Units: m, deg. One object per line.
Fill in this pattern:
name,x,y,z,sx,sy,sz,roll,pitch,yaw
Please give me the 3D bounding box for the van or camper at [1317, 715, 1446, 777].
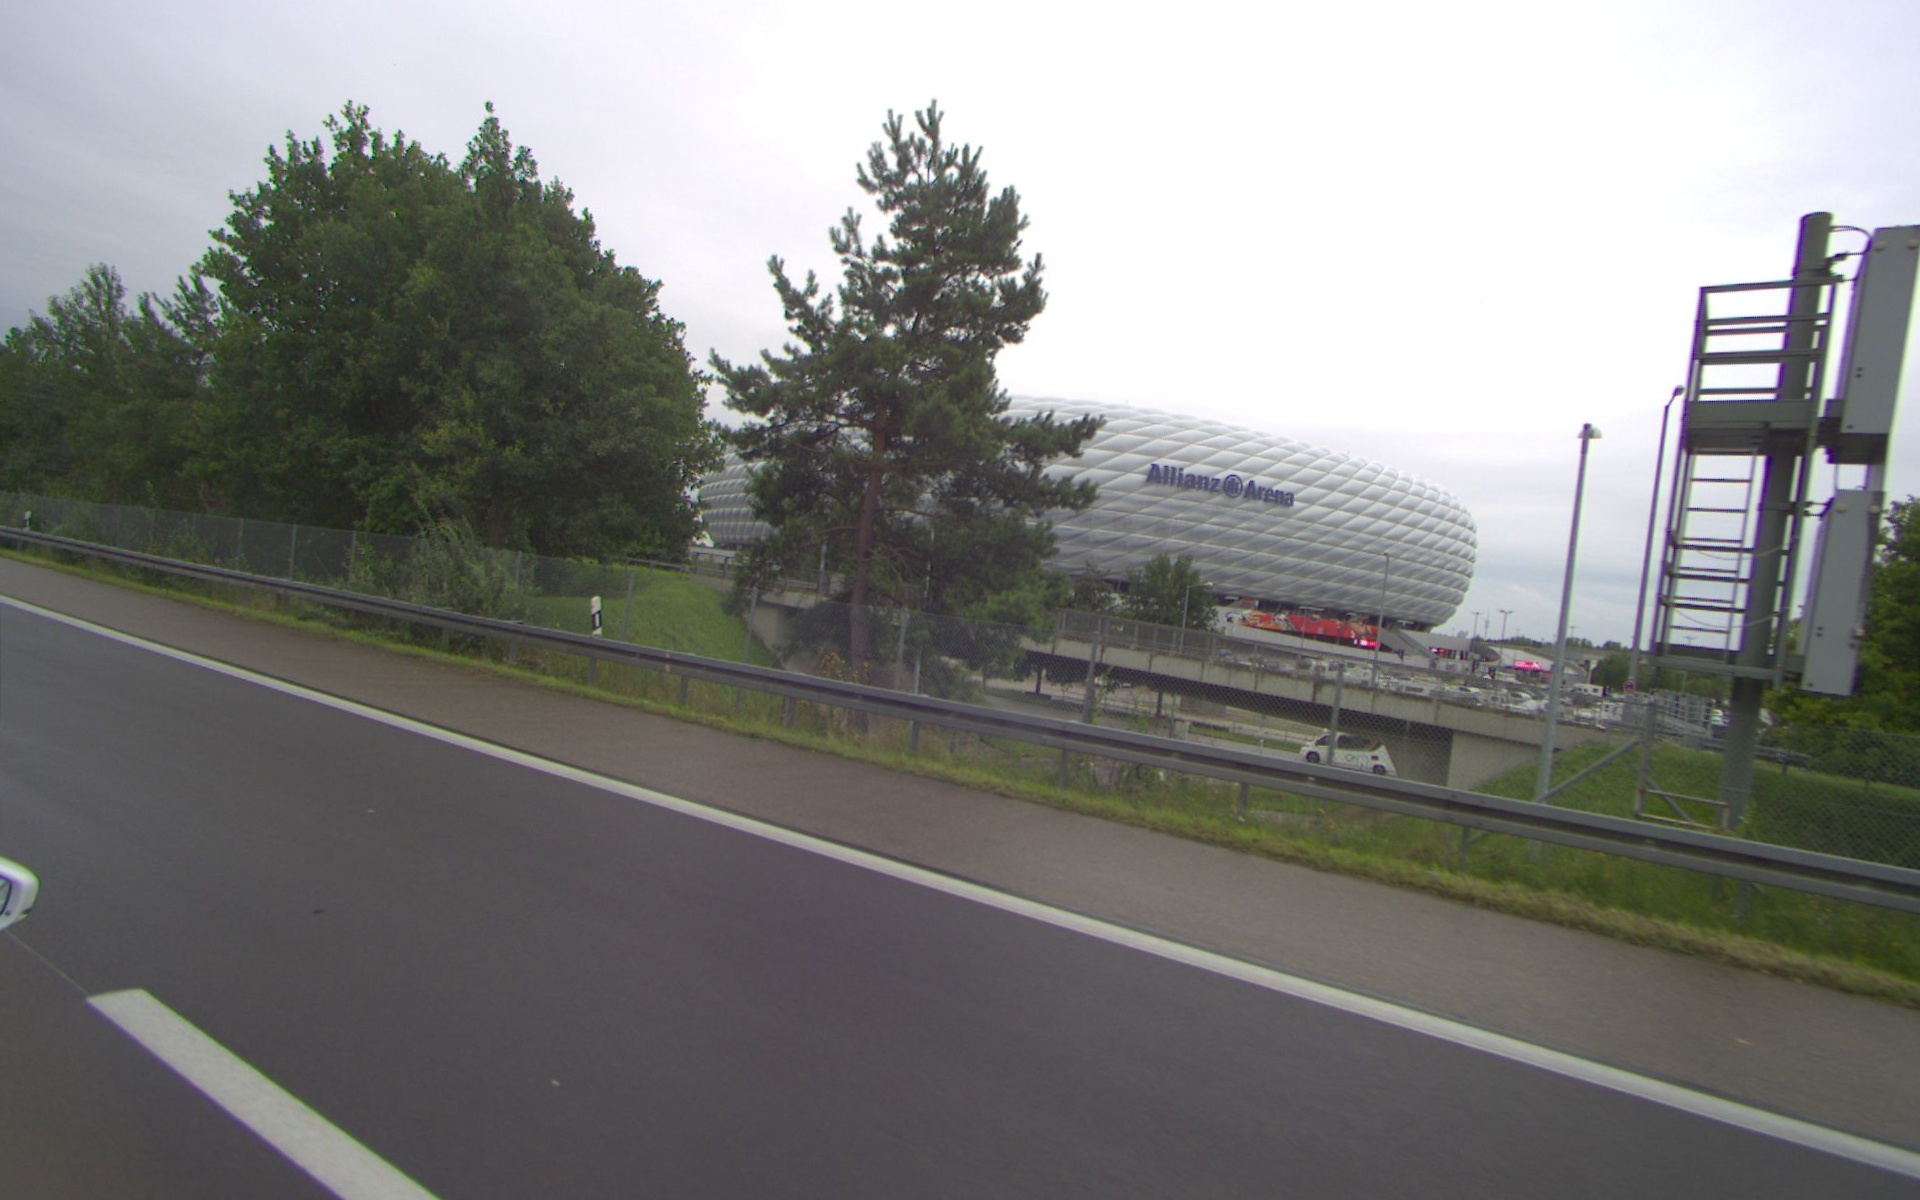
van or camper,26.423,9.088,63.205,7.133,2.585,2.150,5,2,30
